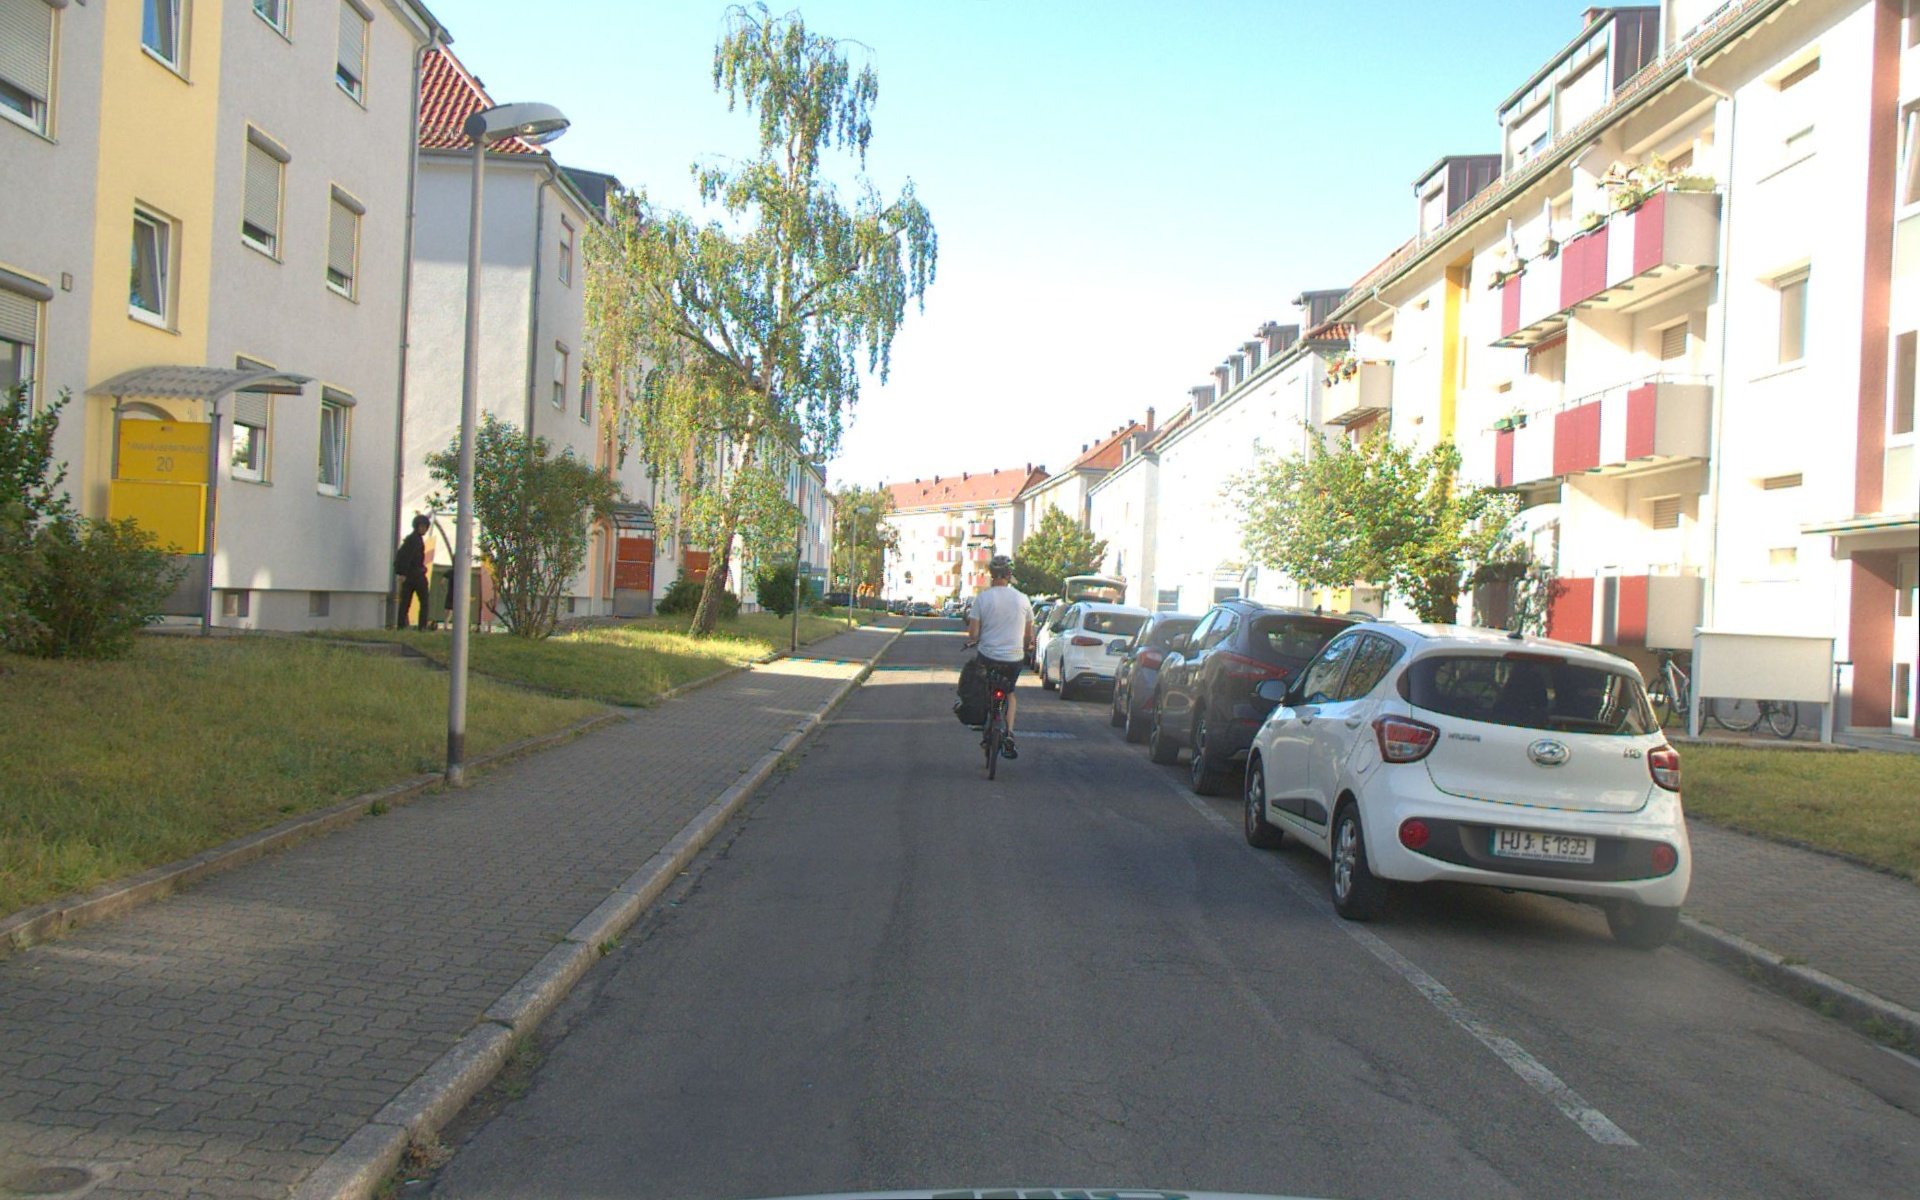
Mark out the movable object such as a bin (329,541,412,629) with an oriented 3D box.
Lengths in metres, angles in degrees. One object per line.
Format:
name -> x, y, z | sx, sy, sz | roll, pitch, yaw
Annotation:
movable object such as a bin -> -10.045, -0.251, 28.229 | 1.062, 1.430, 0.812 | 3, 0, -1

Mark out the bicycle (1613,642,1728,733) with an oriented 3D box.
bicycle -> 9.311, 1.116, 21.772 | 0.510, 1.067, 2.288 | 0, 0, -1

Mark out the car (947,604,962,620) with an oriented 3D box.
car -> -0.604, 1.193, 166.843 | 1.354, 1.523, 3.075 | 1, 0, -3

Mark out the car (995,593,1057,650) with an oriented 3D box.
car -> 2.105, 0.659, 53.633 | 1.747, 1.676, 4.468 | 4, 0, 0

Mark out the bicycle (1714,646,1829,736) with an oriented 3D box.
bicycle -> 10.600, 1.167, 21.671 | 0.510, 1.055, 1.975 | 1, 0, -1

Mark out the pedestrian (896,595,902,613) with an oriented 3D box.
pedestrian -> -5.416, 0.366, 146.575 | 0.425, 1.602, 0.543 | 1, 0, -1

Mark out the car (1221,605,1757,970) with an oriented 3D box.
car -> 2.770, 0.880, 9.614 | 1.679, 1.535, 3.852 | 5, 0, -2

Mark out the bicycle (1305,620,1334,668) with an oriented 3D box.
bicycle -> 8.539, 1.030, 39.303 | 0.395, 1.106, 1.299 | 1, 0, 0

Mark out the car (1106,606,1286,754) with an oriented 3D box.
car -> 2.734, 0.874, 19.968 | 1.613, 1.474, 4.061 | 4, 0, 2

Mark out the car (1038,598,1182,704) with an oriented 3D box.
car -> 2.422, 0.782, 27.743 | 1.737, 1.531, 4.478 | 3, 0, -3

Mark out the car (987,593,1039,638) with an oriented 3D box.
car -> 2.039, 0.572, 64.337 | 1.656, 1.602, 4.433 | 3, 0, -2

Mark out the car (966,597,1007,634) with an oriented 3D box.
car -> 1.332, 0.745, 83.313 | 1.824, 1.697, 4.126 | 4, 0, -1

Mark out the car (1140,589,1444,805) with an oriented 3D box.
car -> 2.762, 0.733, 14.728 | 1.688, 1.606, 4.351 | 1, 0, -2

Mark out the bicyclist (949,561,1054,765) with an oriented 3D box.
bicyclist -> 0.341, 0.523, 14.121 | 0.792, 1.672, 0.898 | 1, 0, -3

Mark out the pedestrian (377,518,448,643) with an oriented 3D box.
pedestrian -> -8.313, -0.295, 25.140 | 0.789, 1.855, 0.718 | 2, 0, 0

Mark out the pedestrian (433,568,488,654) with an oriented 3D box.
pedestrian -> -7.993, 0.179, 26.503 | 0.672, 1.340, 0.575 | 2, 0, 0

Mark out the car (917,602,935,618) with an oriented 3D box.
car -> -3.076, 0.877, 149.872 | 1.440, 1.358, 3.139 | 3, 0, -3

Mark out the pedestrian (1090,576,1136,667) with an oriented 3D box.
pedestrian -> 2.917, 0.406, 31.583 | 0.803, 1.717, 0.604 | 1, 0, -2

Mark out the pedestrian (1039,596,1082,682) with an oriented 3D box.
pedestrian -> 1.923, 0.730, 31.670 | 0.724, 1.602, 0.879 | 1, 0, -1

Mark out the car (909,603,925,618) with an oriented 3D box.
car -> -4.012, 0.991, 154.648 | 1.440, 1.359, 3.139 | 1, 0, -3

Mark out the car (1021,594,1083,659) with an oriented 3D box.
car -> 2.413, 0.671, 43.462 | 1.449, 1.555, 2.942 | 4, 0, 3

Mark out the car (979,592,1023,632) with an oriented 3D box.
car -> 1.849, 0.522, 75.593 | 1.678, 1.623, 4.396 | 5, 0, -1

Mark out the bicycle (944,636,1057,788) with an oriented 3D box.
bicycle -> 0.315, 0.922, 14.293 | 0.792, 1.148, 2.100 | 1, 0, -3

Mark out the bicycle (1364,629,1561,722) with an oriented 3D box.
bicycle -> 6.700, 0.994, 22.153 | 2.373, 1.150, 0.880 | 1, 0, 5

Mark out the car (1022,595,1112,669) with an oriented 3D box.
car -> 2.475, 0.709, 38.988 | 1.660, 1.517, 3.983 | 4, 0, -2

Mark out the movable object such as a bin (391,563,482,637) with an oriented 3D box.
movable object such as a bin -> -10.501, 0.002, 33.237 | 1.360, 1.359, 1.228 | 4, 0, -1

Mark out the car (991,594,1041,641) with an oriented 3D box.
car -> 1.959, 0.592, 58.728 | 1.608, 1.524, 4.156 | 2, 0, 0

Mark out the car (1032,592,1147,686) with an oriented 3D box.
car -> 2.564, 0.730, 33.869 | 1.953, 1.641, 4.996 | 4, 0, 1

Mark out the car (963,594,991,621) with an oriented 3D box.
car -> 1.185, 0.529, 117.506 | 1.641, 1.769, 3.940 | 3, 0, -3
